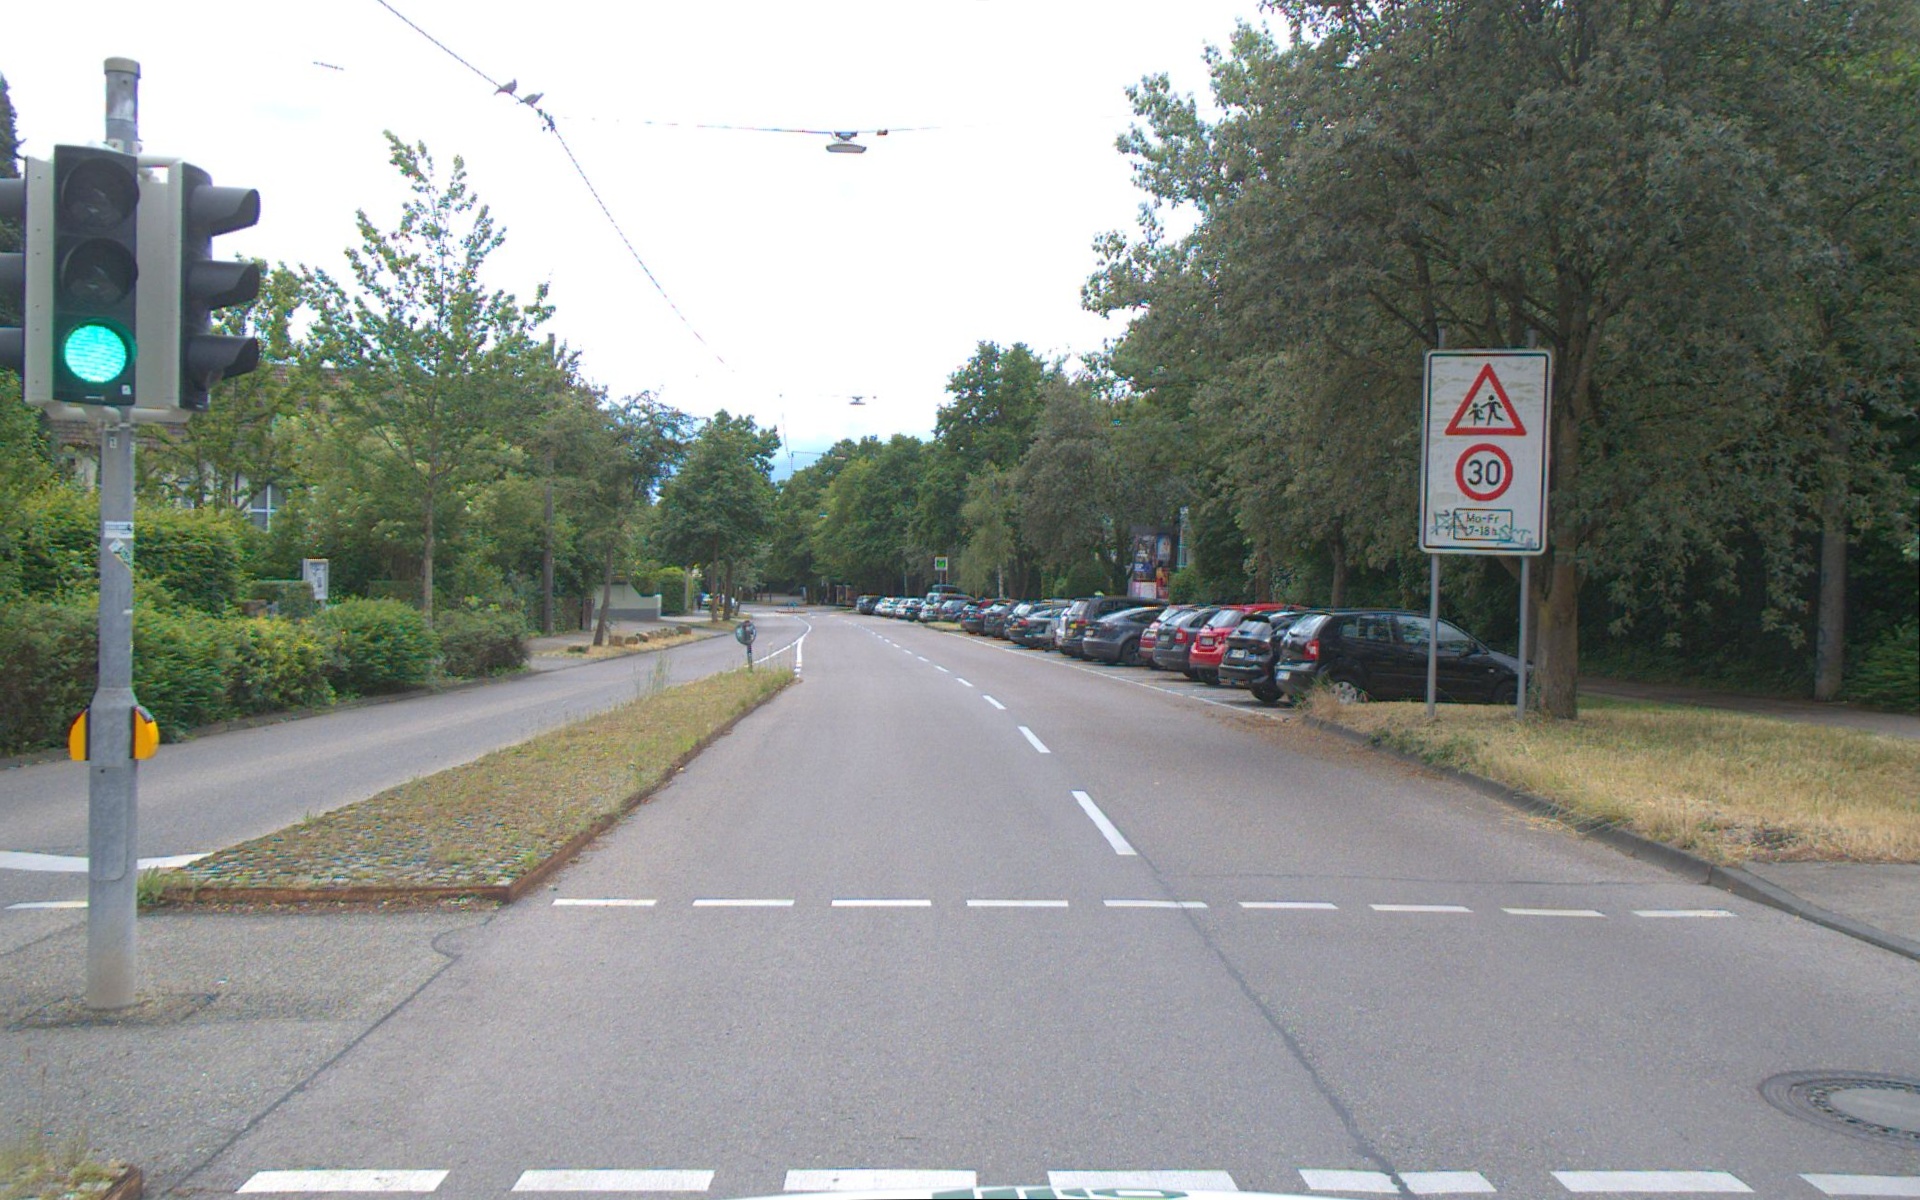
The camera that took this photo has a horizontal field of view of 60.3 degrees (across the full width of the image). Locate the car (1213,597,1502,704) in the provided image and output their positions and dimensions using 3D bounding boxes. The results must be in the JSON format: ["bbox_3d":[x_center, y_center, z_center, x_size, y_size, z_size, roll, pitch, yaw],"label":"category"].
[{"bbox_3d":[6.087,0.769,25.418,4.068,1.502,1.570,2,0,-16],"label":"car"}]

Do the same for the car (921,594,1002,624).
[{"bbox_3d":[0.094,0.488,88.732,3.973,1.430,1.744,2,0,-23],"label":"car"}]

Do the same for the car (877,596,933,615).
[{"bbox_3d":[-4.100,0.404,123.838,3.843,1.332,1.726,1,0,-30],"label":"car"}]

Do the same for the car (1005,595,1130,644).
[{"bbox_3d":[3.625,0.656,55.801,3.854,1.512,1.608,2,0,-21],"label":"car"}]

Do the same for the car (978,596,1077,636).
[{"bbox_3d":[2.689,0.625,65.859,3.558,1.470,1.624,2,0,-21],"label":"car"}]

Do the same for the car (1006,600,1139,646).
[{"bbox_3d":[3.589,0.731,53.008,3.969,1.351,1.553,2,-1,-14],"label":"car"}]

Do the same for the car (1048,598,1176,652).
[{"bbox_3d":[4.416,0.717,48.147,3.370,1.470,1.552,2,0,-18],"label":"car"}]

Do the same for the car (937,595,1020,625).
[{"bbox_3d":[0.954,0.527,86.122,3.906,1.430,1.746,2,0,-20],"label":"car"}]

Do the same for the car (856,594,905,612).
[{"bbox_3d":[-6.795,0.231,142.017,3.835,1.454,1.730,1,0,-25],"label":"car"}]

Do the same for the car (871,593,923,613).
[{"bbox_3d":[-5.018,0.228,132.157,3.835,1.454,1.730,1,0,-25],"label":"car"}]

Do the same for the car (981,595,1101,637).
[{"bbox_3d":[3.093,0.601,62.997,4.279,1.470,1.625,2,0,-20],"label":"car"}]

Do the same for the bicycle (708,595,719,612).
[{"bbox_3d":[-19.734,0.284,132.446,0.829,1.288,2.648,1,1,-7],"label":"bicycle"}]

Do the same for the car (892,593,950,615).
[{"bbox_3d":[-2.801,0.319,119.102,3.838,1.474,1.729,1,0,-27],"label":"car"}]

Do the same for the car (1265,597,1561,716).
[{"bbox_3d":[6.271,0.769,23.069,3.645,1.502,1.574,2,1,-8],"label":"car"}]

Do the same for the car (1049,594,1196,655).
[{"bbox_3d":[4.474,0.667,45.685,3.750,1.556,1.602,1,0,-9],"label":"car"}]

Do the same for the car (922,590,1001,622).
[{"bbox_3d":[0.086,0.326,91.655,3.940,1.648,1.873,2,0,-22],"label":"car"}]

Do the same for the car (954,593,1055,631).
[{"bbox_3d":[1.929,0.527,71.219,4.024,1.542,1.718,1,0,-28],"label":"car"}]

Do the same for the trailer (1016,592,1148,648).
[{"bbox_3d":[3.712,0.605,50.375,3.629,1.562,1.639,2,0,-17],"label":"trailer"}]

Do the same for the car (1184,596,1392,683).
[{"bbox_3d":[6.095,0.736,30.810,3.468,1.502,1.584,2,0,-18],"label":"car"}]

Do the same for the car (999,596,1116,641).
[{"bbox_3d":[3.439,0.654,58.364,3.779,1.480,1.626,2,0,-17],"label":"car"}]

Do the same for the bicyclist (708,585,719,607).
[{"bbox_3d":[-19.711,-0.316,132.405,0.829,1.727,0.712,1,1,-8],"label":"bicyclist"}]

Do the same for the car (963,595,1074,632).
[{"bbox_3d":[2.411,0.557,68.231,4.247,1.364,1.724,2,0,-19],"label":"car"}]

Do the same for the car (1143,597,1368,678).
[{"bbox_3d":[5.934,0.744,33.265,4.148,1.489,1.629,2,0,-14],"label":"car"}]

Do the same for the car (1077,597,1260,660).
[{"bbox_3d":[5.054,0.691,40.247,4.092,1.431,1.690,2,0,-16],"label":"car"}]

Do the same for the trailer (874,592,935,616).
[{"bbox_3d":[-4.074,0.295,121.159,4.101,1.600,1.699,2,-1,-25],"label":"trailer"}]

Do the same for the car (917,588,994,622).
[{"bbox_3d":[-0.248,0.269,94.482,4.046,1.785,1.767,2,0,-32],"label":"car"}]

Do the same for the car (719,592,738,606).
[{"bbox_3d":[-25.496,-0.136,182.298,1.834,1.496,3.988,1,0,-12],"label":"car"}]

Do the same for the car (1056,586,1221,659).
[{"bbox_3d":[4.619,0.579,42.901,3.919,1.755,1.674,2,0,-15],"label":"car"}]

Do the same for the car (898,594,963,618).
[{"bbox_3d":[-1.943,0.411,107.927,3.842,1.474,1.826,1,0,-29],"label":"car"}]

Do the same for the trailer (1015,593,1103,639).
[{"bbox_3d":[3.636,0.585,60.907,2.940,1.569,1.297,2,1,-18],"label":"trailer"}]

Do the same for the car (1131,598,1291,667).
[{"bbox_3d":[5.782,0.751,38.261,3.271,1.490,1.628,2,0,-15],"label":"car"}]

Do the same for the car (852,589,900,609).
[{"bbox_3d":[-7.336,-0.093,144.762,3.835,1.697,1.730,1,0,-25],"label":"car"}]
